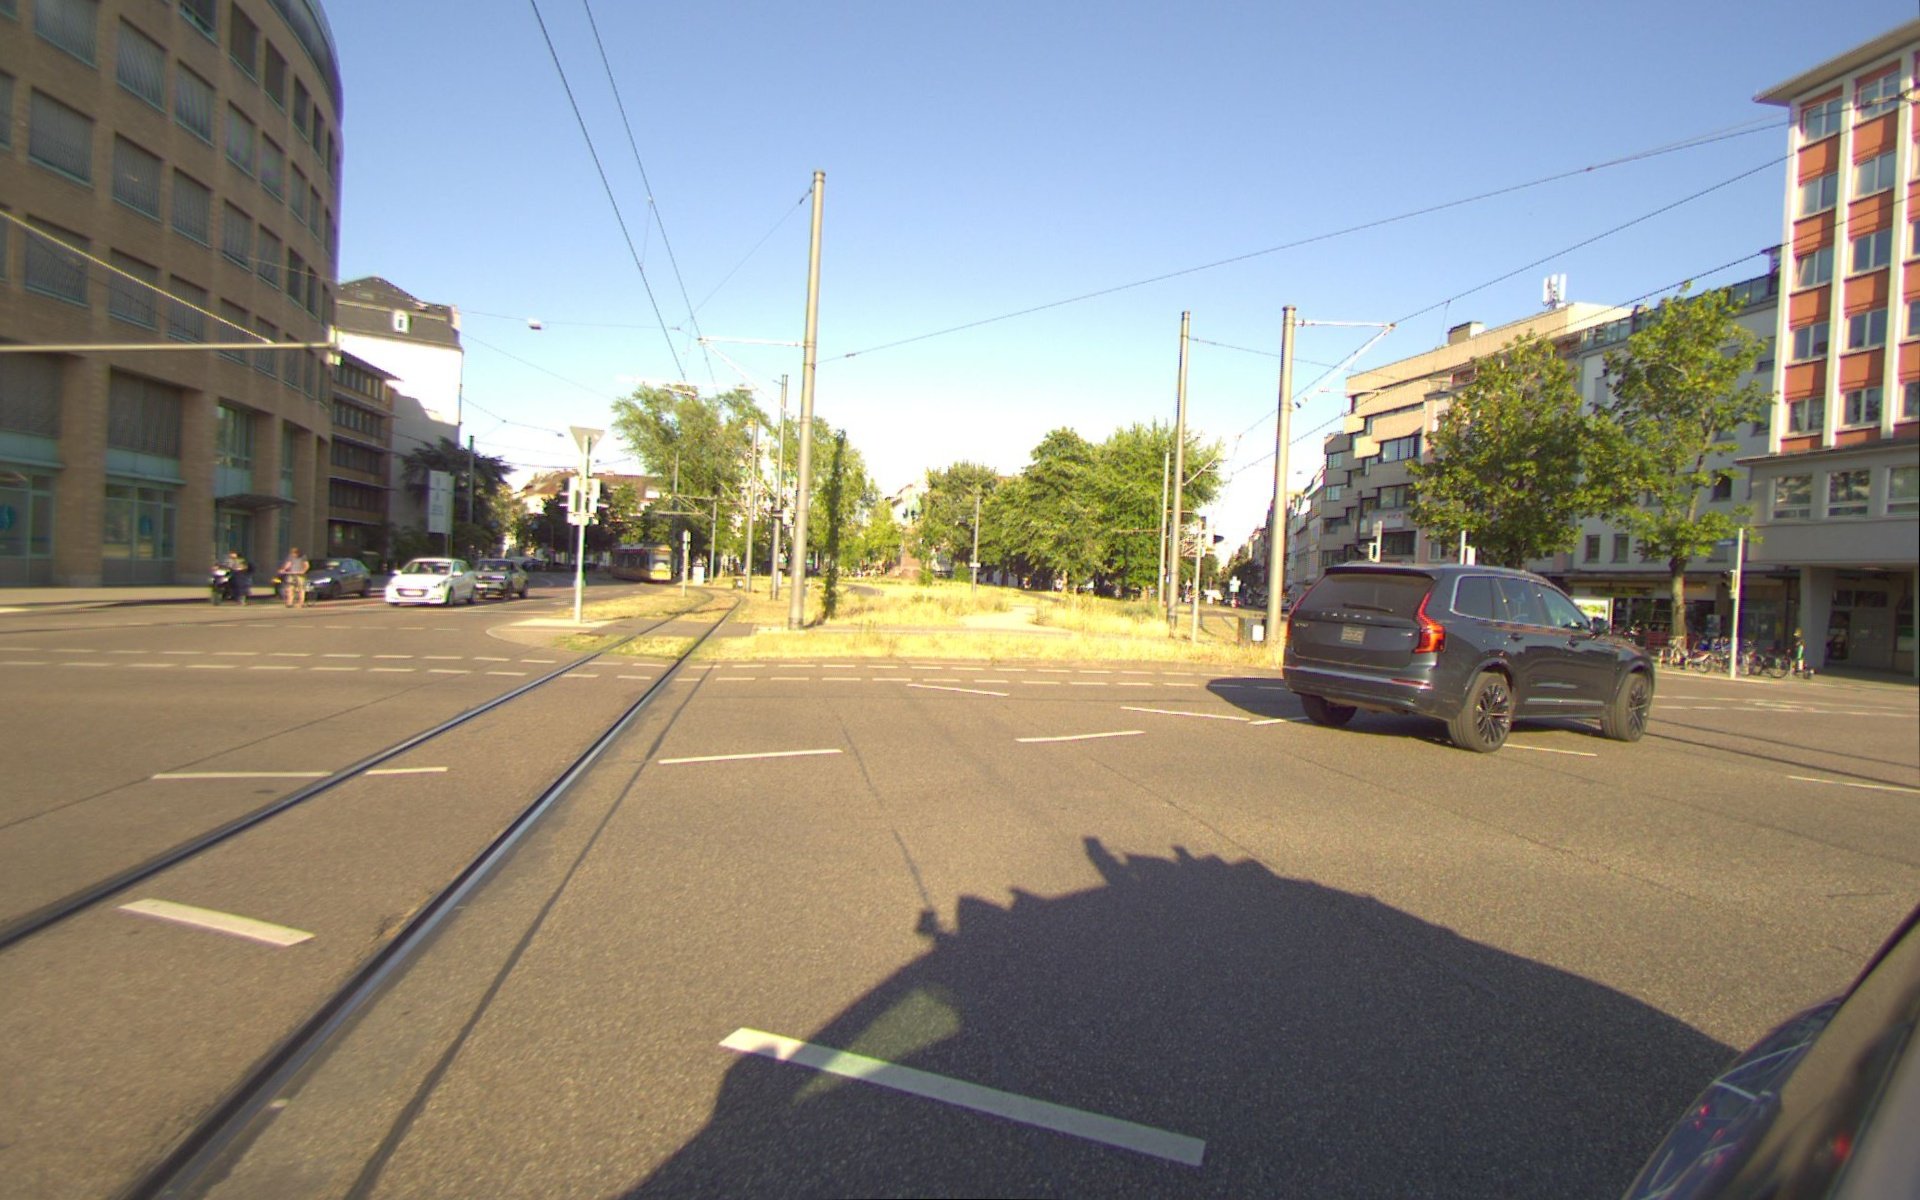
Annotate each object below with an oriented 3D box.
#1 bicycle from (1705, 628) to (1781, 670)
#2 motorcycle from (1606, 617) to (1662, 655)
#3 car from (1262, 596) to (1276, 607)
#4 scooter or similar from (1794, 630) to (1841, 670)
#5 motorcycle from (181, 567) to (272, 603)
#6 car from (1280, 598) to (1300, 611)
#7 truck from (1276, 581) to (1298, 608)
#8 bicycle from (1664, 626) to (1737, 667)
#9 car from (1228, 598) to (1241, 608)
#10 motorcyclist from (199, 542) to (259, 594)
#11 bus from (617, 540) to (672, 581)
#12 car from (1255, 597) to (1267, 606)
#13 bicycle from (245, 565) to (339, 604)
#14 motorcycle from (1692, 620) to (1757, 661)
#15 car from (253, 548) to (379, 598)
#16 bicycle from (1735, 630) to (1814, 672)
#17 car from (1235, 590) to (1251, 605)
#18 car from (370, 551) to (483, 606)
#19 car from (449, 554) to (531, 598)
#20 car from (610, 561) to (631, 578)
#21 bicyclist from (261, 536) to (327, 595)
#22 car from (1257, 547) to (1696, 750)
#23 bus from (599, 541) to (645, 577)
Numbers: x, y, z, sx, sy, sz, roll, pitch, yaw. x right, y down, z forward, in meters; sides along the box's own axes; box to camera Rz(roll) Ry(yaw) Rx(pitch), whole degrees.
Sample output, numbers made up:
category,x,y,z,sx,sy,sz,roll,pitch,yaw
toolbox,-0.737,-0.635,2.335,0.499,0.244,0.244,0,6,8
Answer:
category,x,y,z,sx,sy,sz,roll,pitch,yaw
bicycle,25.767,1.596,33.348,0.581,1.128,2.012,3,3,-11
motorcycle,25.843,1.367,38.869,0.875,1.324,2.054,2,1,6
car,49.833,0.197,163.067,1.779,1.615,3.665,3,1,12
scooter or similar,30.281,1.757,35.750,0.477,1.250,1.557,3,2,10
motorcycle,-21.133,-0.449,29.258,1.010,0.976,2.732,2,1,-10
car,38.808,0.517,119.139,1.713,1.401,3.611,3,1,12
truck,40.858,-0.710,126.586,1.713,3.260,6.385,3,1,11
bicycle,24.174,1.505,33.069,0.581,1.128,1.983,3,3,-11
car,40.664,0.421,150.002,1.652,1.340,3.764,3,1,12
motorcyclist,-21.118,-0.918,29.268,1.010,1.453,1.071,2,1,-10
bus,-27.365,-3.456,87.493,2.361,3.250,11.136,2,1,-28
car,51.155,0.184,171.980,1.473,1.391,3.413,3,1,12
bicycle,-18.722,-0.459,28.470,1.130,1.013,2.976,2,1,-11
motorcycle,27.941,1.489,36.984,2.218,1.410,0.846,2,0,-21
car,-22.066,-0.928,34.913,1.945,1.556,4.504,2,1,-8
bicycle,26.984,1.665,33.576,0.581,1.128,2.067,3,3,-12
car,37.633,-0.336,134.604,1.624,1.836,3.477,3,1,12
car,-16.487,-0.678,31.513,1.953,1.510,4.185,2,1,-11
car,-17.740,-0.927,38.398,1.783,1.510,4.072,2,1,-10
car,-38.988,-3.454,116.283,1.806,1.840,4.008,2,1,-12
bicyclist,-18.681,-0.964,28.420,1.130,1.591,1.229,2,1,-10
car,5.676,0.400,10.913,4.933,1.745,2.001,1,2,-33
bus,-32.599,-3.930,97.305,2.305,3.250,11.098,2,1,-28
